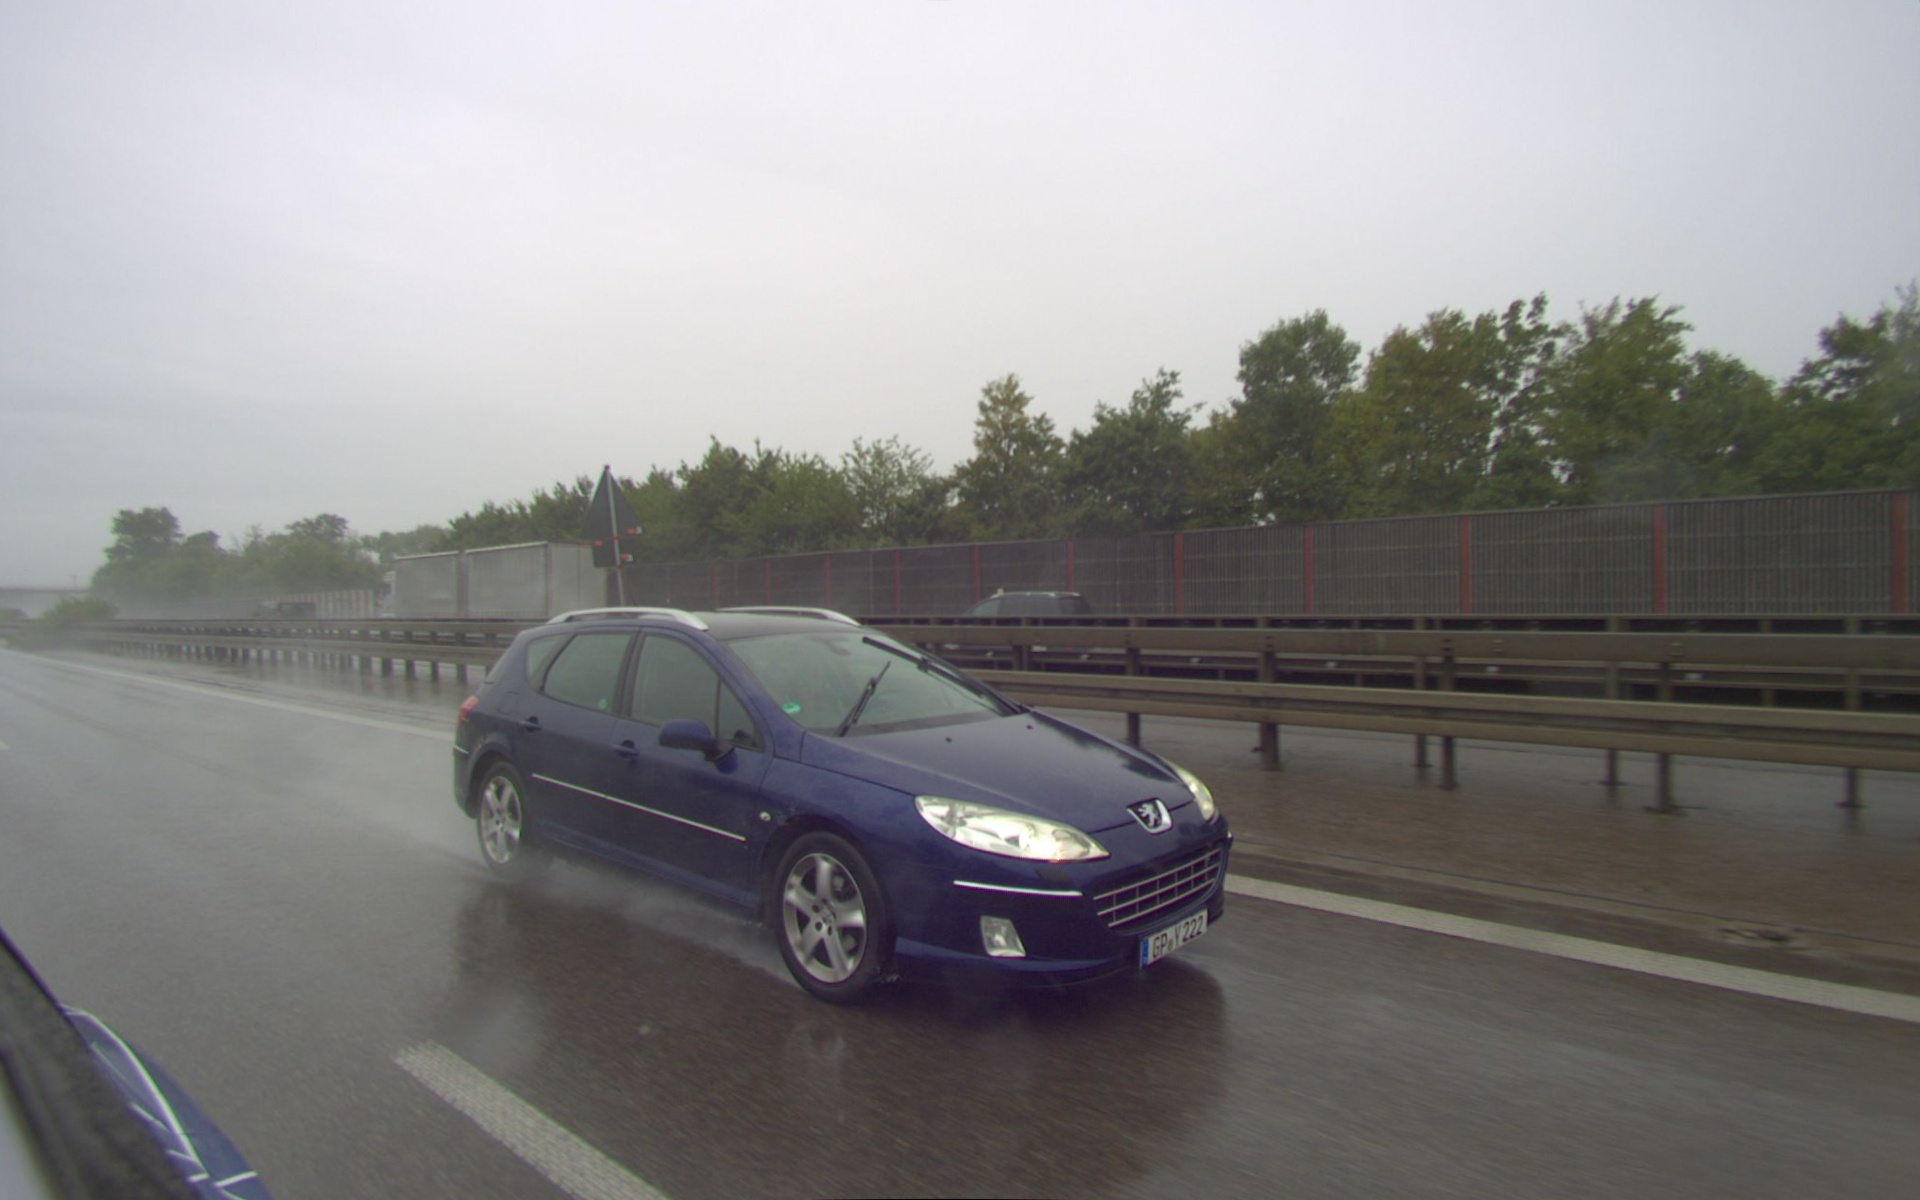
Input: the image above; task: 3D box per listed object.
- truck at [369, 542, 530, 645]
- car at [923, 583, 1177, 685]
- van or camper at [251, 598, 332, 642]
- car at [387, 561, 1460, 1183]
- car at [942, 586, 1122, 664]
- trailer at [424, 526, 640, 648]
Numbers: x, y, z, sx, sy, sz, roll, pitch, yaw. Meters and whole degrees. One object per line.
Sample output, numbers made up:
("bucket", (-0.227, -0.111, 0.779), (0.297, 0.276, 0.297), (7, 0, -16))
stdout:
("truck", (-25.553, -0.233, 50.395), (9.487, 4.674, 3.796), (-1, -1, 41))
("car", (1.452, 0.535, 17.248), (3.998, 1.526, 1.830), (-1, 0, 41))
("van or camper", (-32.918, 0.962, 49.761), (5.670, 2.029, 1.972), (-1, -1, 42))
("car", (-0.645, 0.695, 4.890), (5.153, 1.496, 2.033), (-1, -1, 40))
("car", (1.694, 0.580, 24.662), (3.998, 1.748, 1.973), (-1, 0, 41))
("trailer", (-19.250, -0.413, 44.894), (12.236, 4.731, 3.829), (-1, -1, 41))
